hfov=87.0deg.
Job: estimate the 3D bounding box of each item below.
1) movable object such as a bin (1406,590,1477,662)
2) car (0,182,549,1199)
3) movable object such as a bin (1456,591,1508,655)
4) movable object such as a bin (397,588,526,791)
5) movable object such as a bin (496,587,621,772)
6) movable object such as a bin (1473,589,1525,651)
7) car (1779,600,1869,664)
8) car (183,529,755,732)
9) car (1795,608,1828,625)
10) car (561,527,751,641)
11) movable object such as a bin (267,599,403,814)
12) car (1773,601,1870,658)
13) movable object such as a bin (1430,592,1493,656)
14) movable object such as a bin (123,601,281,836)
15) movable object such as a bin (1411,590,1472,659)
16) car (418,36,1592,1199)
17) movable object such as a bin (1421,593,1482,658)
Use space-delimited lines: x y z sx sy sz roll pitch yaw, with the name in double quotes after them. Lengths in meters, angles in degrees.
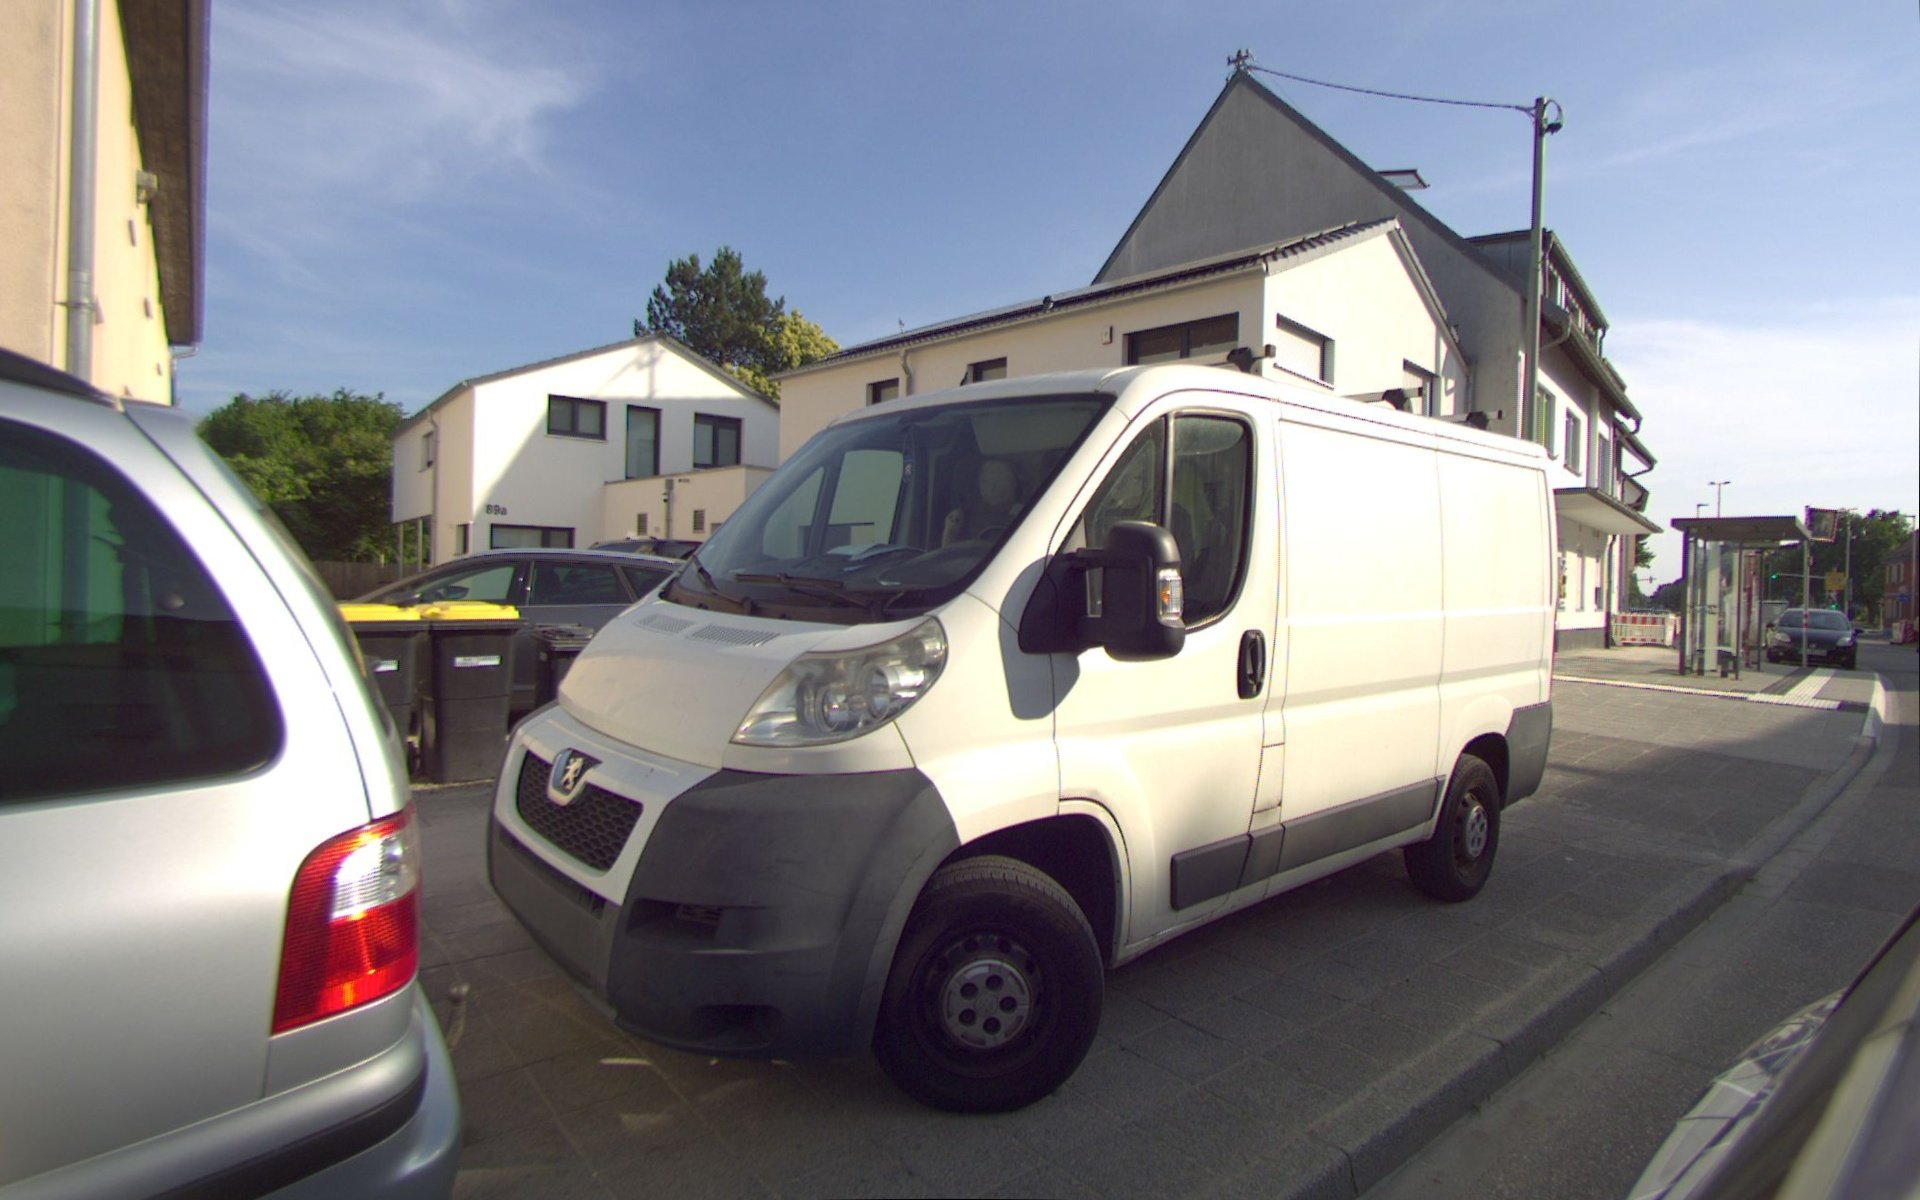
7.822 0.409 16.447 0.812 1.107 0.755 2 1 45 "movable object such as a bin"
-2.851 0.392 0.713 4.404 1.762 1.782 0 2 -40 "car"
9.431 0.410 18.281 0.696 1.107 0.550 2 1 43 "movable object such as a bin"
-3.056 0.501 6.194 0.544 1.146 0.729 0 0 -41 "movable object such as a bin"
-2.610 0.476 6.560 0.544 1.107 0.729 0 1 -41 "movable object such as a bin"
9.989 0.361 18.760 0.550 1.107 0.696 1 1 -45 "movable object such as a bin"
21.779 0.741 25.575 1.606 1.438 3.863 2 2 40 "car"
-3.767 0.233 8.403 3.895 1.424 1.666 2 2 -16 "car"
75.015 1.430 89.212 1.783 1.460 3.951 0 0 34 "car"
-5.692 -0.317 18.715 1.890 1.869 3.830 2 1 -42 "car"
-3.535 0.553 5.711 0.544 1.107 0.729 0 0 -41 "movable object such as a bin"
24.946 0.804 29.427 1.711 1.415 4.277 6 3 36 "car"
8.814 0.404 17.792 0.592 1.072 0.812 1 1 -45 "movable object such as a bin"
-3.982 0.568 5.308 0.614 1.107 0.729 0 0 -41 "movable object such as a bin"
8.100 0.403 17.037 0.436 1.107 0.812 1 1 -45 "movable object such as a bin"
0.646 0.073 4.396 4.910 2.356 2.179 1 2 -41 "car"
8.434 0.425 17.382 0.462 1.049 0.812 1 1 -45 "movable object such as a bin"
